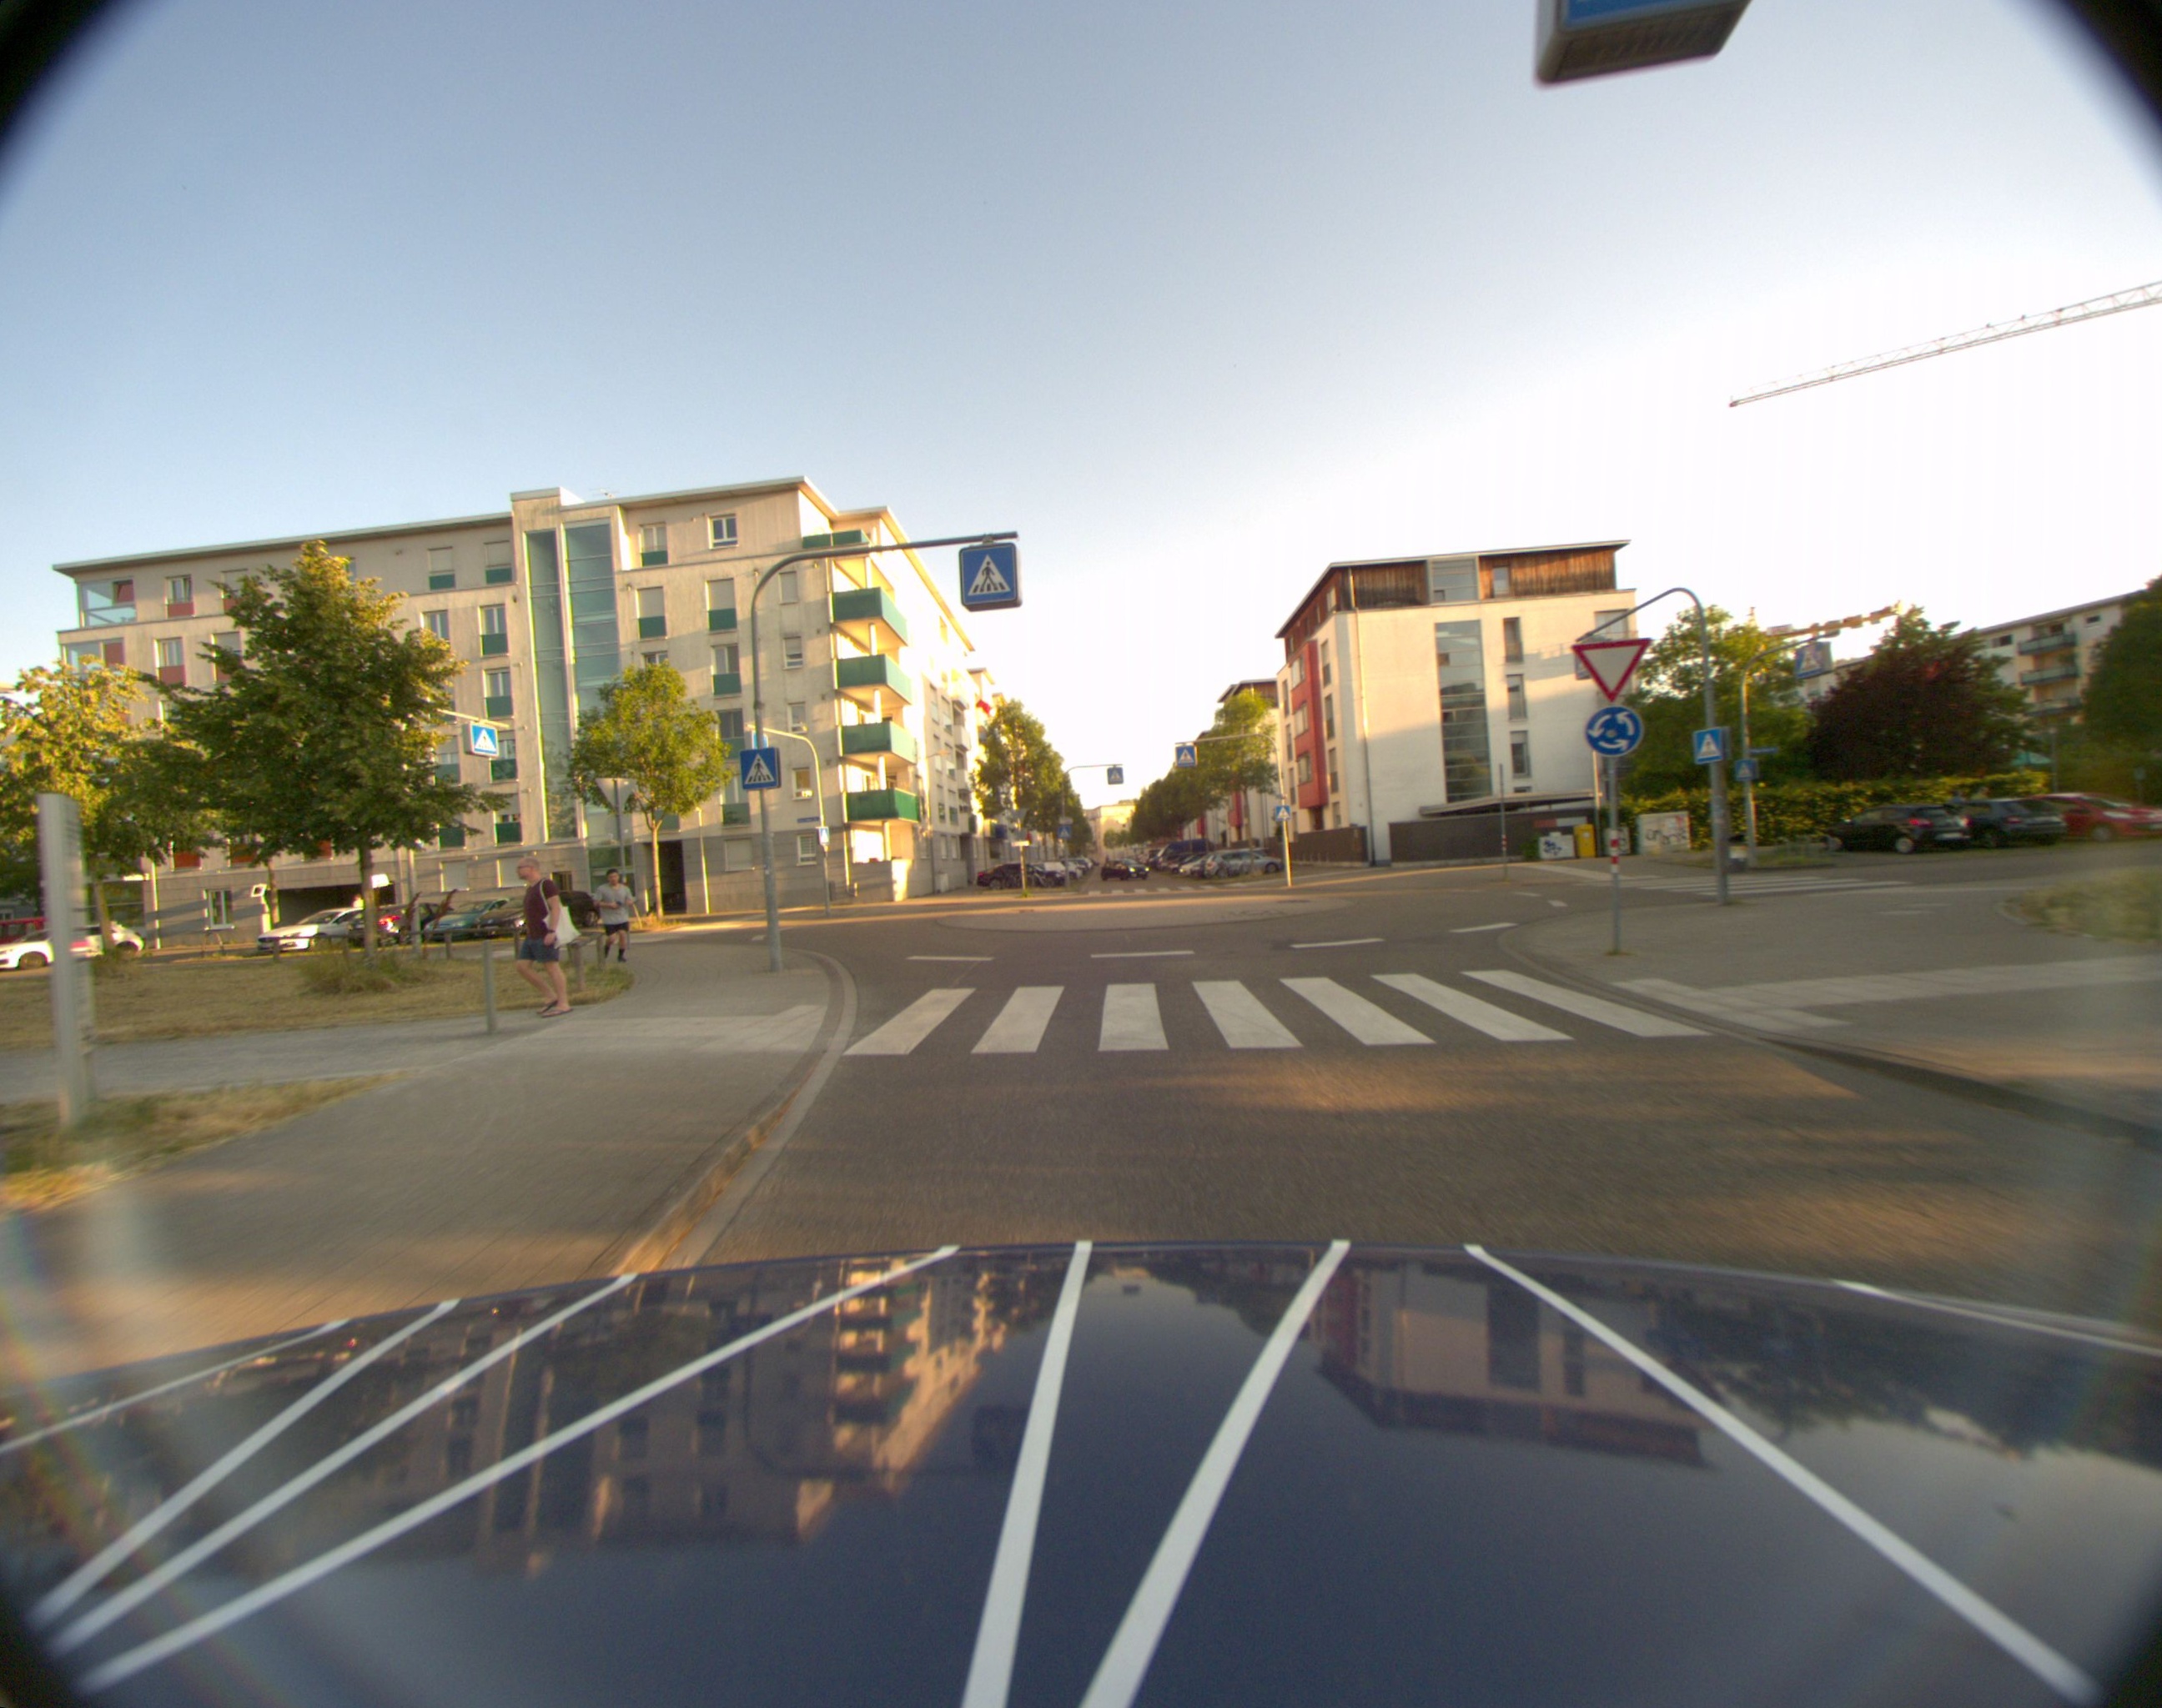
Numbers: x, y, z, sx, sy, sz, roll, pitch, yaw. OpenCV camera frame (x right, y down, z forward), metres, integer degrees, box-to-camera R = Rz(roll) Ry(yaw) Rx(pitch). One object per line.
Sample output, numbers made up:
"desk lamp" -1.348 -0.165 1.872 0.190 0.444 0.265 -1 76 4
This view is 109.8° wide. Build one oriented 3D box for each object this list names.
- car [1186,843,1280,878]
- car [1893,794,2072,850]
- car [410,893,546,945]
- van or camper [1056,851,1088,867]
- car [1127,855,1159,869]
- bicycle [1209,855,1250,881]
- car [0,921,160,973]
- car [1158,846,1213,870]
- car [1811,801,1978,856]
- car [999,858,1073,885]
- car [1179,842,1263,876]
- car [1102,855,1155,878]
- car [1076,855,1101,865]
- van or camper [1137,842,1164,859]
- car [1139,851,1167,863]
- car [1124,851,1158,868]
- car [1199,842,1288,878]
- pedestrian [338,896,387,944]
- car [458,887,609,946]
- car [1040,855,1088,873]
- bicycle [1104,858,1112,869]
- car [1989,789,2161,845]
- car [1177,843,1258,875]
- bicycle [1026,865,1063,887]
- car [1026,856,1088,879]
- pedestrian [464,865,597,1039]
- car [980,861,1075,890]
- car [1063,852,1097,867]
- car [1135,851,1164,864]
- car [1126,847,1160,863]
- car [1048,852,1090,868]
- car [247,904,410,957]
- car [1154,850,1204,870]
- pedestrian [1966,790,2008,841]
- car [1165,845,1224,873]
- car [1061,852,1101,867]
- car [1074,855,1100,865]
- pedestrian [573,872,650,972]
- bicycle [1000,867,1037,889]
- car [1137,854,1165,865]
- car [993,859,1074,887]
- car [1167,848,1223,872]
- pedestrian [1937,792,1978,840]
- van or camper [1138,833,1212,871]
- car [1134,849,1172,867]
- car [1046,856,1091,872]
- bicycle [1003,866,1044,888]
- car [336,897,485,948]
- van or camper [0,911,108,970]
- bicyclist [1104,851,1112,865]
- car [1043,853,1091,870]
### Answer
"car" 8.626 0.371 43.323 4.915 1.469 1.711 -6 -1 0
"car" 27.808 -0.937 23.610 1.593 1.491 3.411 -4 0 4
"car" -22.148 2.343 28.138 1.558 1.366 4.005 -4 2 4
"van or camper" -1.255 0.700 106.584 4.250 2.198 1.693 -1 0 2
"car" 8.537 1.138 105.316 4.251 1.775 1.693 -1 0 1
"bicycle" 7.410 0.689 37.964 1.821 1.060 0.567 -7 -1 0
"car" -39.283 3.565 29.355 1.699 1.512 4.469 -4 -1 4
"car" 8.614 0.310 62.825 4.102 1.616 1.724 -5 0 -2
"car" 25.526 -0.764 24.032 1.689 1.513 3.411 -4 0 4
"car" -2.692 1.061 46.269 4.293 1.485 1.743 -1 0 1
"car" 8.470 0.323 46.164 4.783 1.546 1.711 -6 -1 6
"car" 3.213 0.844 52.047 1.781 1.454 4.170 -1 -1 -27
"car" 1.352 1.107 135.729 4.250 1.606 1.693 -1 0 3
"van or camper" 11.294 -0.554 123.400 4.250 2.520 1.761 -1 0 3
"car" 11.266 0.505 118.562 4.250 1.775 1.693 -1 0 3
"car" 7.817 0.731 98.841 4.251 1.991 1.693 -1 0 1
"car" 8.688 0.333 40.769 4.291 1.449 1.681 -6 -1 0
"pedestrian" -30.492 2.784 32.267 1.048 1.883 0.980 -4 -1 5
"car" -19.434 2.145 27.276 1.831 1.479 4.480 -4 2 4
"car" -1.472 0.874 65.639 4.102 1.500 1.666 -1 0 -2
"bicycle" 3.182 1.093 88.881 0.771 1.259 1.782 -4 -1 1
"car" 30.403 -1.082 23.097 1.593 1.491 3.411 -4 0 4
"car" 8.684 0.341 48.562 4.759 1.575 1.758 -6 -1 -2
"bicycle" -1.847 1.128 38.604 1.839 1.065 0.473 -1 -1 -2
"car" -1.679 0.932 53.729 4.294 1.499 1.685 -1 0 -1
"pedestrian" -5.990 1.027 8.312 0.733 1.773 0.802 -4 0 3
"car" -2.833 1.157 40.953 4.885 1.449 1.938 -1 0 4
"car" -0.142 0.684 97.507 4.250 1.768 1.693 -1 0 3
"car" 10.152 0.565 113.335 4.250 1.775 1.693 -1 0 3
"car" 7.842 0.127 96.489 4.251 1.919 1.693 -1 0 1
"car" -1.206 0.583 78.161 4.250 1.527 1.693 -1 0 3
"car" -27.349 2.746 27.818 1.699 1.471 4.058 -4 -1 4
"car" 8.508 0.498 66.013 4.102 1.616 1.724 -1 0 -2
"pedestrian" 31.026 -1.304 26.022 0.744 1.657 0.623 -6 1 -18
"car" 8.315 0.345 55.802 3.918 1.700 1.724 -5 0 -2
"car" -0.021 0.601 83.711 4.250 1.527 1.693 -1 0 3
"car" 1.029 1.096 131.033 4.250 1.629 1.693 -1 0 3
"pedestrian" -8.539 1.213 13.844 0.801 1.719 0.768 -4 0 10
"bicycle" -3.106 1.199 38.002 1.792 1.035 0.567 -1 -1 -2
"car" 10.627 0.876 115.711 4.250 1.629 1.693 -1 0 3
"car" -2.682 1.078 43.626 4.410 1.499 1.743 -1 0 5
"car" 8.721 0.461 58.216 3.918 1.506 1.724 -5 0 -2
"pedestrian" 30.762 -1.327 26.665 0.713 1.590 0.655 -6 1 -20
"van or camper" 8.774 -0.165 71.371 6.314 3.069 2.442 -5 0 -2
"car" 8.182 0.454 86.568 4.251 1.919 1.693 -1 0 1
"car" -1.214 0.954 74.022 4.252 1.500 1.752 -1 0 -2
"bicycle" -2.943 1.179 39.090 2.034 1.040 0.473 -1 -1 -2
"car" -24.701 2.494 28.227 1.699 1.471 4.058 -4 -1 4
"van or camper" -42.243 3.470 29.590 1.876 2.047 5.134 -4 -1 3
"bicyclist" 3.151 0.499 88.929 0.767 1.617 0.663 -4 0 1
"car" -1.239 0.683 68.649 4.252 1.500 1.752 -1 0 -2
